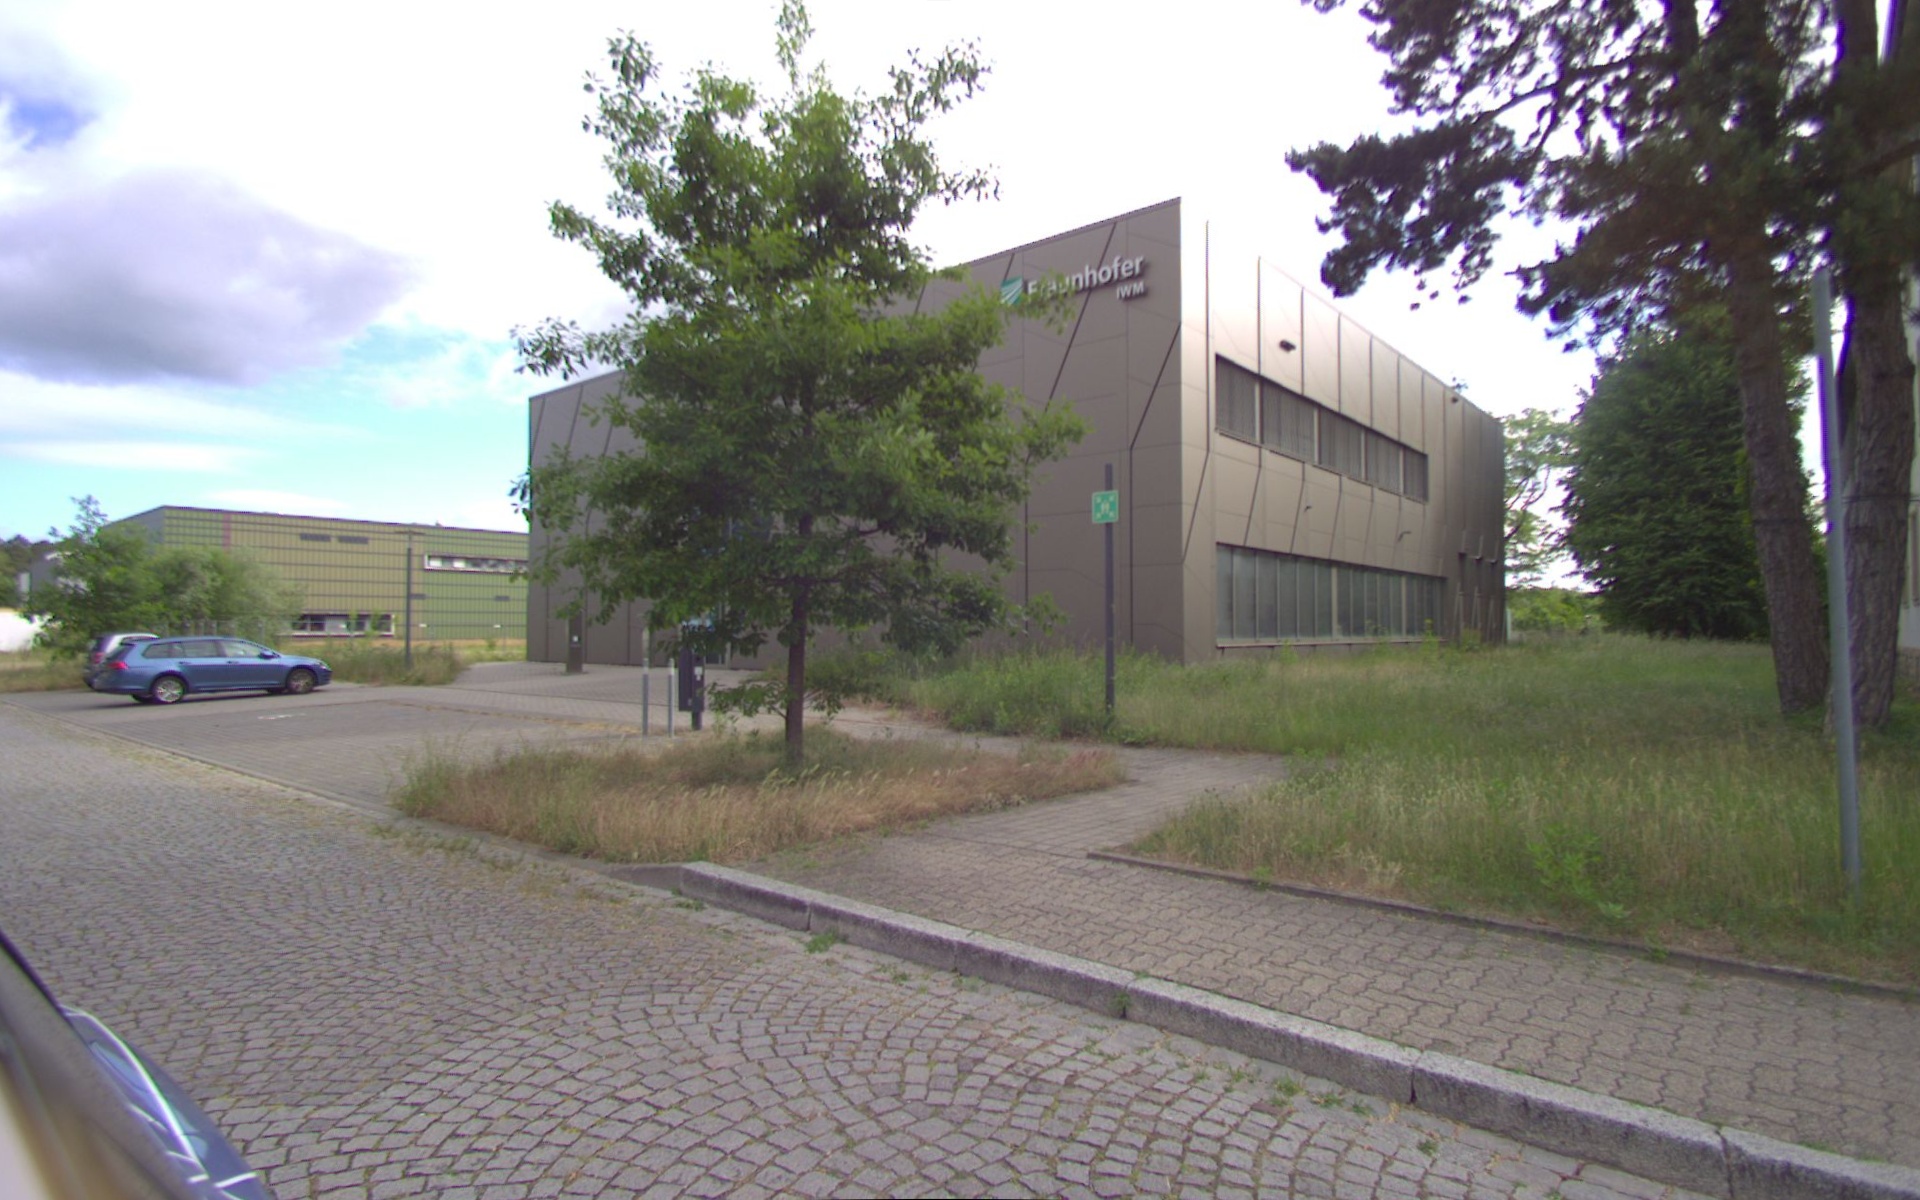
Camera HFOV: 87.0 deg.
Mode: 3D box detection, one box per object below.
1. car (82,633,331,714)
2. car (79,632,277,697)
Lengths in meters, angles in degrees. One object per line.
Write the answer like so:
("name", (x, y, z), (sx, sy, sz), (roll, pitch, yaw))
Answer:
("car", (-17.415, 1.617, 23.587), (1.714, 1.521, 4.352), (-2, 0, 37))
("car", (-22.390, 1.790, 29.084), (4.340, 1.557, 1.843), (-2, -1, -44))
